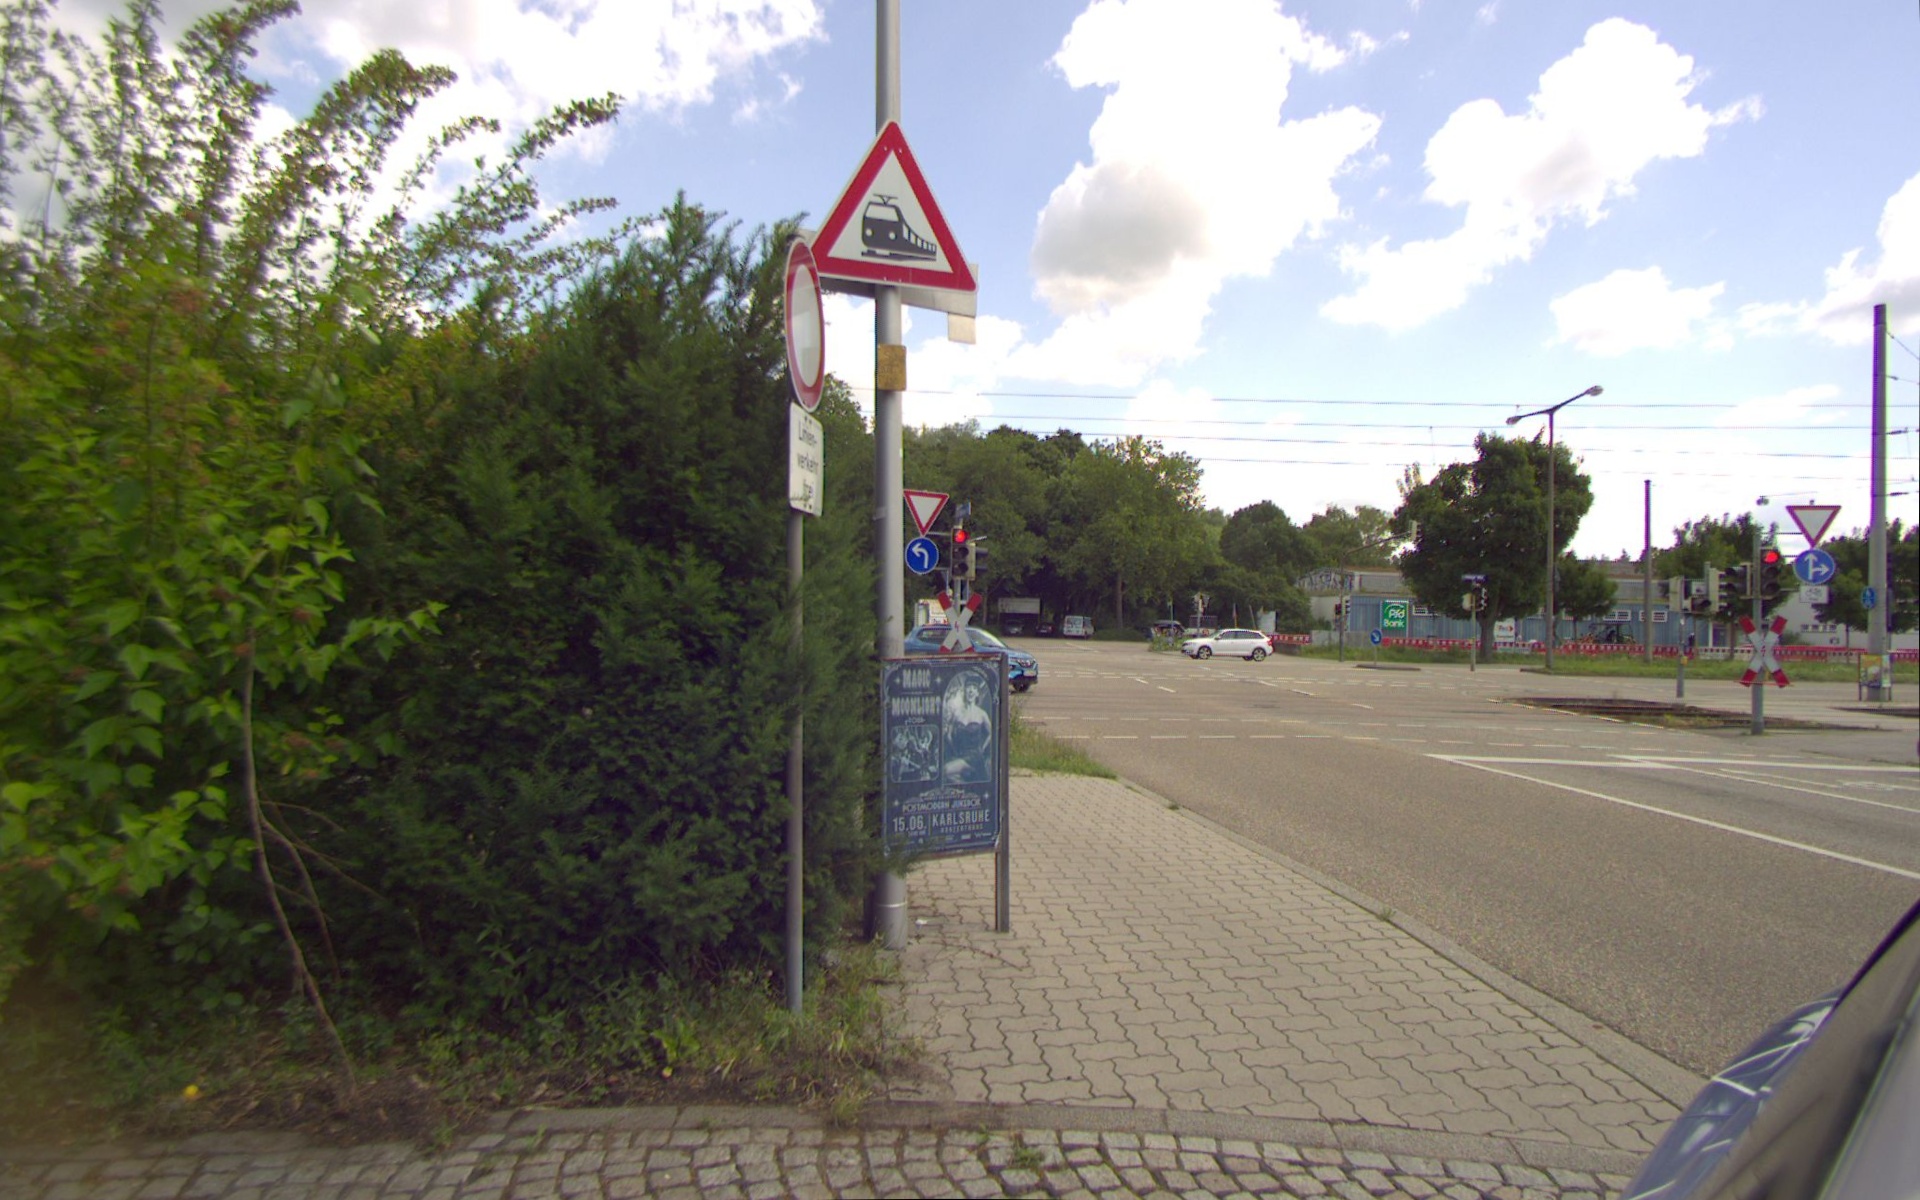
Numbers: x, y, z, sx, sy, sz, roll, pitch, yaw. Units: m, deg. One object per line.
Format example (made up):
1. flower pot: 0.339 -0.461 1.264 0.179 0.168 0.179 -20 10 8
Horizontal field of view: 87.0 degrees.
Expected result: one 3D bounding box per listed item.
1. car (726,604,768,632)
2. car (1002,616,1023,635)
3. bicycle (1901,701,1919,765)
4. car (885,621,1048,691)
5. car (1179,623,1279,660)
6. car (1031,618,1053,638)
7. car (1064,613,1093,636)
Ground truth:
1. car: -16.050 1.391 76.394 1.965 2.039 3.993 1 -1 5
2. car: 4.528 2.237 88.195 1.589 1.527 3.619 1 0 0
3. bicycle: 12.366 1.683 12.157 0.545 0.775 1.726 1 -1 1
4. car: 0.109 1.271 23.826 3.684 1.483 1.582 0 -3 39
5. car: 12.597 1.932 47.566 4.093 1.523 2.000 1 0 -1
6. car: 7.102 2.426 88.237 1.589 1.527 3.619 1 0 0
7. car: 10.282 2.088 87.500 1.910 1.816 3.600 1 0 16
